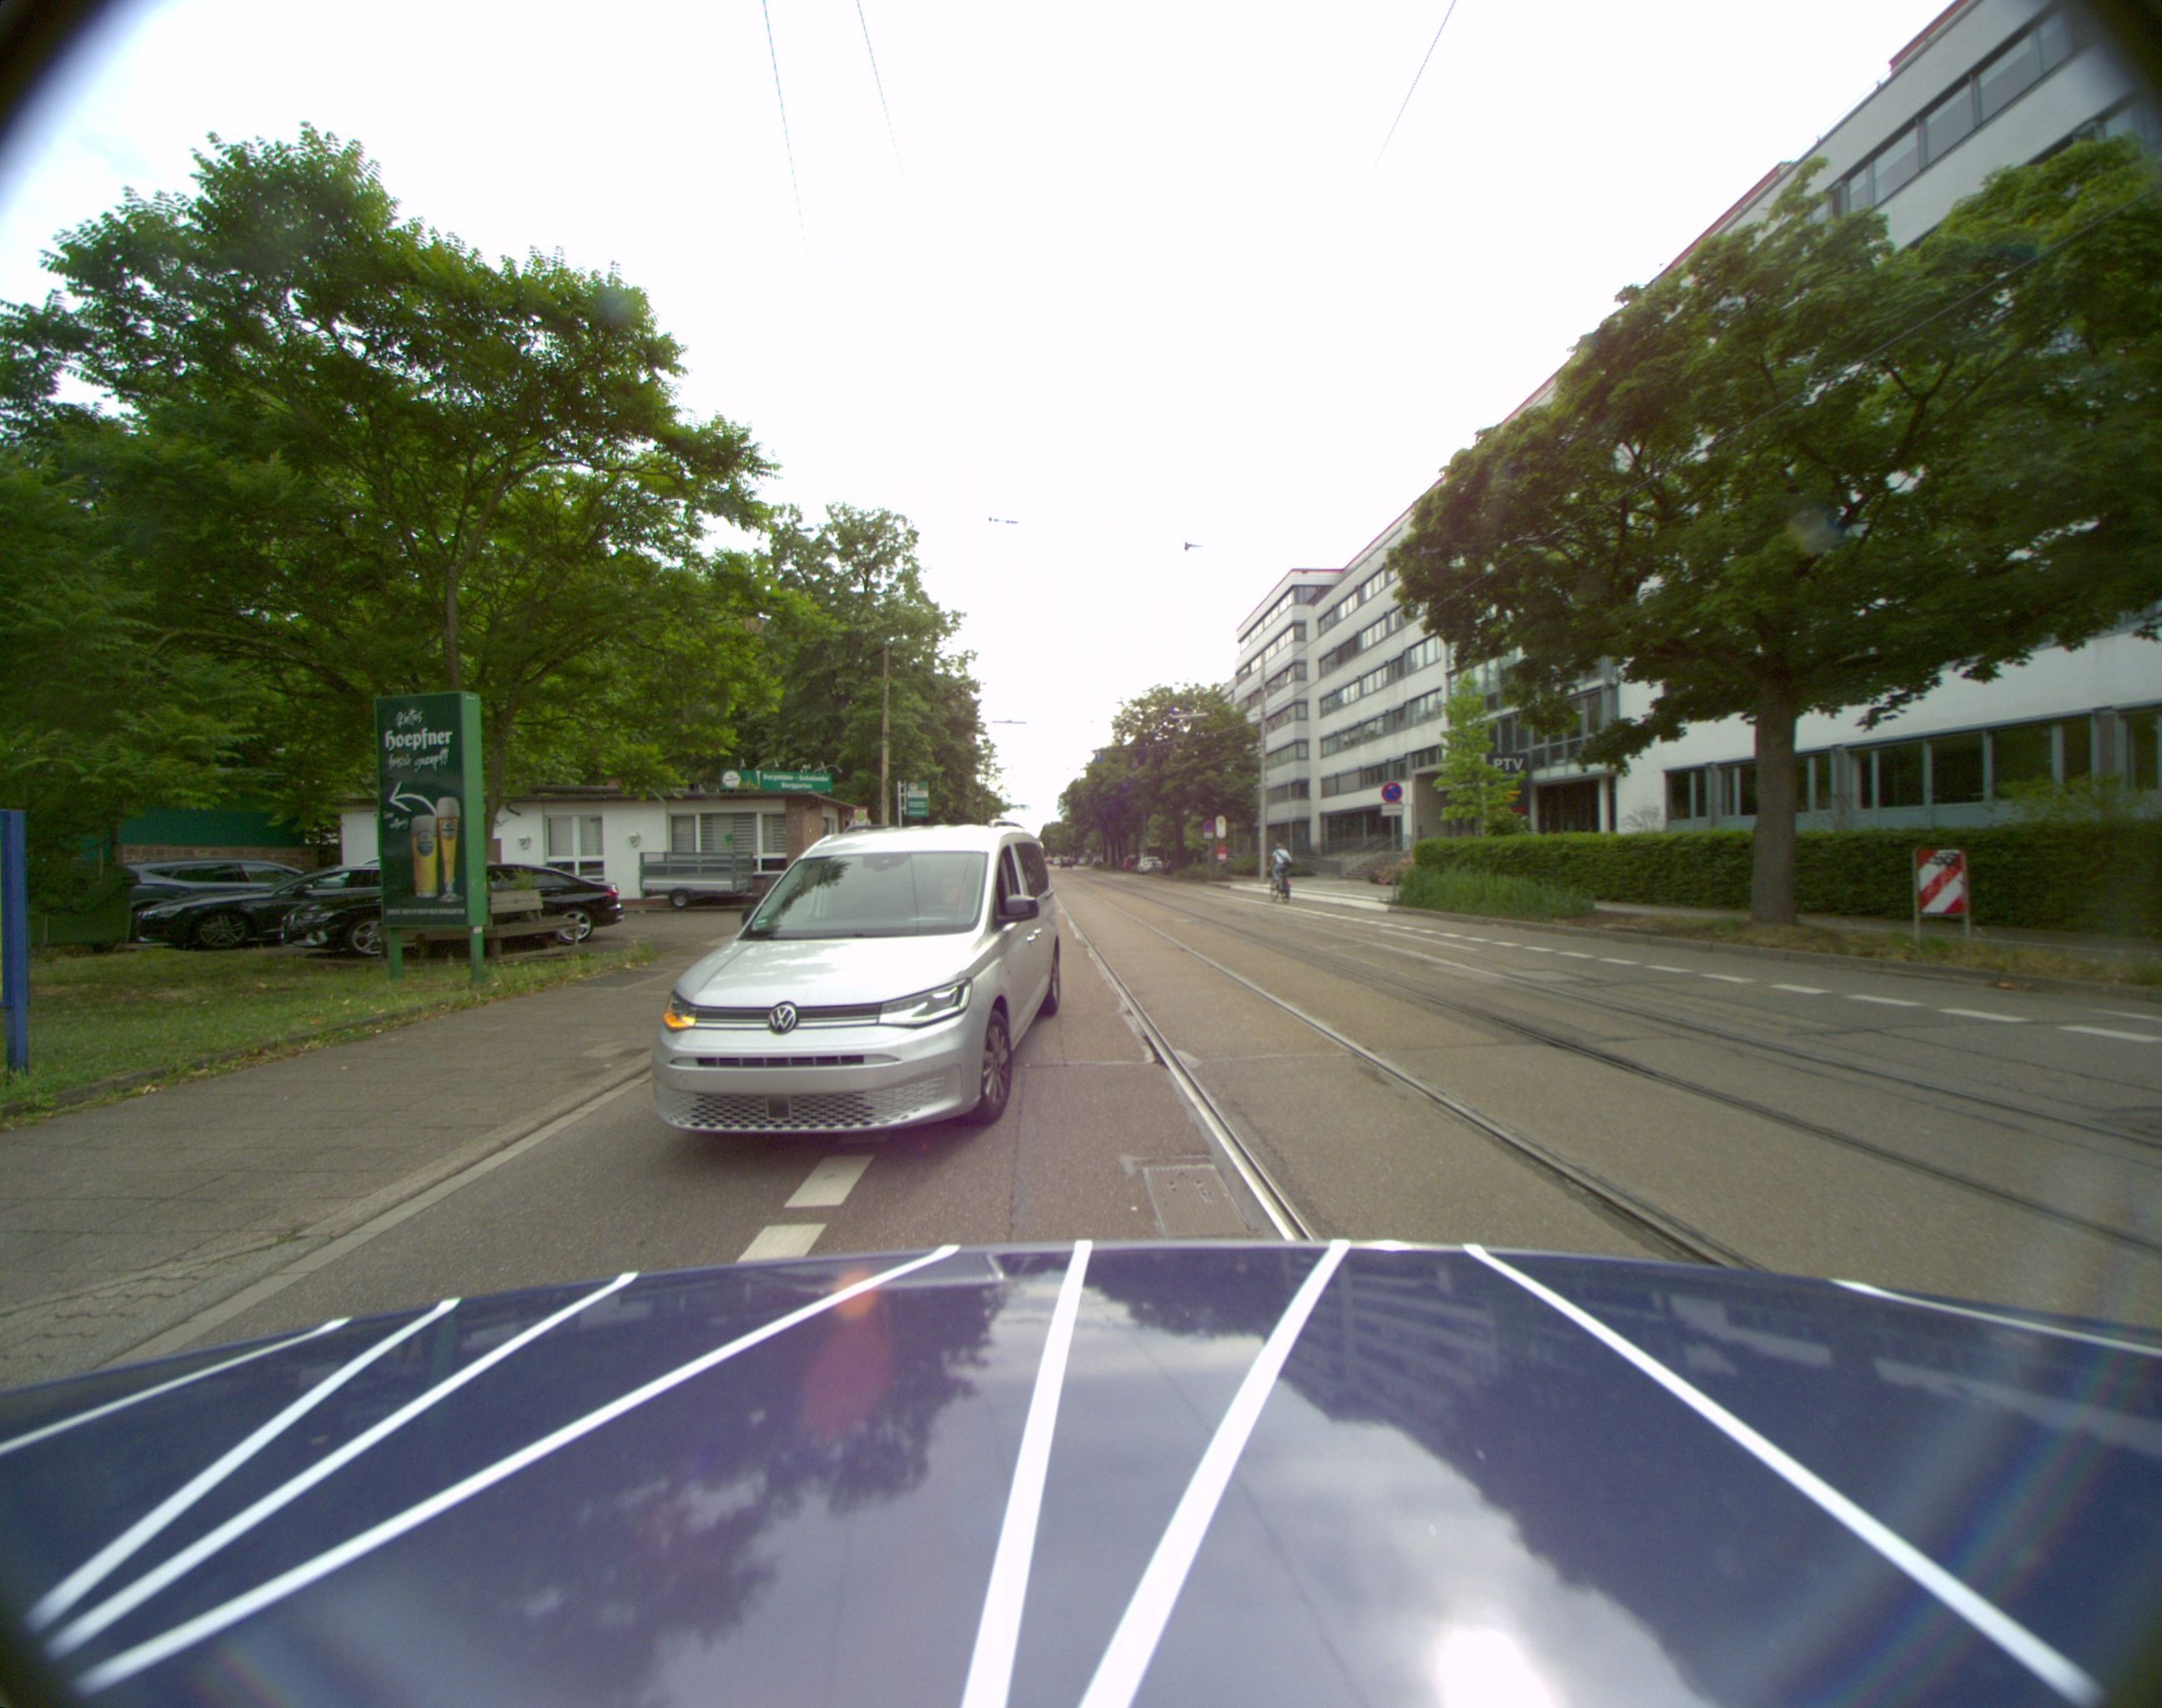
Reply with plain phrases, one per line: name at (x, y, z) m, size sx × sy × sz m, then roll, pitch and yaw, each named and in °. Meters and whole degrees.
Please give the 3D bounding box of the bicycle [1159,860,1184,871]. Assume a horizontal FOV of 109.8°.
bicycle at (7.040, 0.896, 59.102) m, size 1.812 × 0.894 × 0.631 m, roll 0°, pitch 1°, yaw -10°

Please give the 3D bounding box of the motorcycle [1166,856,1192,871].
motorcycle at (7.417, 0.735, 57.628) m, size 1.794 × 1.044 × 0.732 m, roll -2°, pitch 1°, yaw -11°

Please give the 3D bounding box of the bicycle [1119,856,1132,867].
bicycle at (5.095, 0.852, 87.106) m, size 1.473 × 1.134 × 0.617 m, roll -3°, pitch 1°, yaw -5°

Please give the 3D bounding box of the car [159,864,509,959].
car at (-13.923, 0.946, 14.436) m, size 1.872 × 1.419 × 4.552 m, roll 2°, pitch 1°, yaw 39°

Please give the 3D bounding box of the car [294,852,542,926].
car at (-16.437, 0.841, 19.012) m, size 4.434 × 1.637 × 1.991 m, roll -1°, pitch 1°, yaw 2°

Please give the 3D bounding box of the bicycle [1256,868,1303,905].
bicycle at (6.221, 0.988, 23.934) m, size 0.589 × 1.067 × 1.954 m, roll 0°, pitch 0°, yaw -14°

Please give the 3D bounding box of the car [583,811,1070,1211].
car at (-1.206, 0.721, 5.919) m, size 1.850 × 1.796 × 4.938 m, roll -1°, pitch 0°, yaw 4°

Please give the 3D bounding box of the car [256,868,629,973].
car at (-10.597, 0.971, 12.936) m, size 1.929 × 1.399 × 4.594 m, roll 0°, pitch -1°, yaw 40°

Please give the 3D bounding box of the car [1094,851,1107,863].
car at (3.003, 0.377, 116.513) m, size 1.815 × 1.699 × 3.999 m, roll -3°, pitch 1°, yaw 0°

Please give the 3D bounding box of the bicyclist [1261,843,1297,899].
bicyclist at (6.220, 0.527, 23.923) m, size 0.738 × 1.739 × 0.977 m, roll 0°, pitch 1°, yaw -14°

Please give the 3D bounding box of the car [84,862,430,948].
car at (-16.328, 0.911, 15.322) m, size 1.980 × 1.450 × 4.501 m, roll -1°, pitch -1°, yaw 36°

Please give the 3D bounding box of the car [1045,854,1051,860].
car at (-9.678, 0.914, 223.401) m, size 1.746 × 1.490 × 4.259 m, roll -1°, pitch 0°, yaw -5°

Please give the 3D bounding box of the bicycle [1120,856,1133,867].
bicycle at (5.174, 0.855, 86.605) m, size 1.473 × 1.134 × 0.617 m, roll -1°, pitch 1°, yaw -5°

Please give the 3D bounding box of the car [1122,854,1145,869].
car at (5.442, 0.774, 78.688) m, size 1.633 × 1.439 × 3.754 m, roll -4°, pitch 1°, yaw -7°

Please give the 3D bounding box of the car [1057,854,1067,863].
car at (-3.745, 0.885, 147.083) m, size 1.708 × 1.521 × 3.740 m, roll -2°, pitch 1°, yaw -5°

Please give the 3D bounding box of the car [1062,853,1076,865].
car at (-1.833, 0.770, 114.430) m, size 1.832 × 1.727 × 4.333 m, roll -1°, pitch 1°, yaw -3°

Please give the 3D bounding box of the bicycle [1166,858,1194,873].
bicycle at (7.185, 0.822, 55.261) m, size 1.835 × 1.047 × 0.741 m, roll -1°, pitch 0°, yaw -12°

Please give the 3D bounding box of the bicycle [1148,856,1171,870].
bicycle at (6.484, 0.756, 62.625) m, size 1.869 × 1.180 × 0.632 m, roll 0°, pitch 1°, yaw 1°

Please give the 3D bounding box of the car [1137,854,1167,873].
car at (6.097, 0.810, 65.707) m, size 1.886 × 1.485 × 4.751 m, roll -3°, pitch 0°, yaw -4°

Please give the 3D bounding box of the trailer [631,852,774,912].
trailer at (-10.542, 0.753, 21.325) m, size 3.170 × 1.530 × 1.620 m, roll -1°, pitch 1°, yaw -2°

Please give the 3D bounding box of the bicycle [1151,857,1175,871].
bicycle at (6.635, 0.816, 61.472) m, size 1.812 × 1.094 × 0.631 m, roll 0°, pitch 1°, yaw -10°
